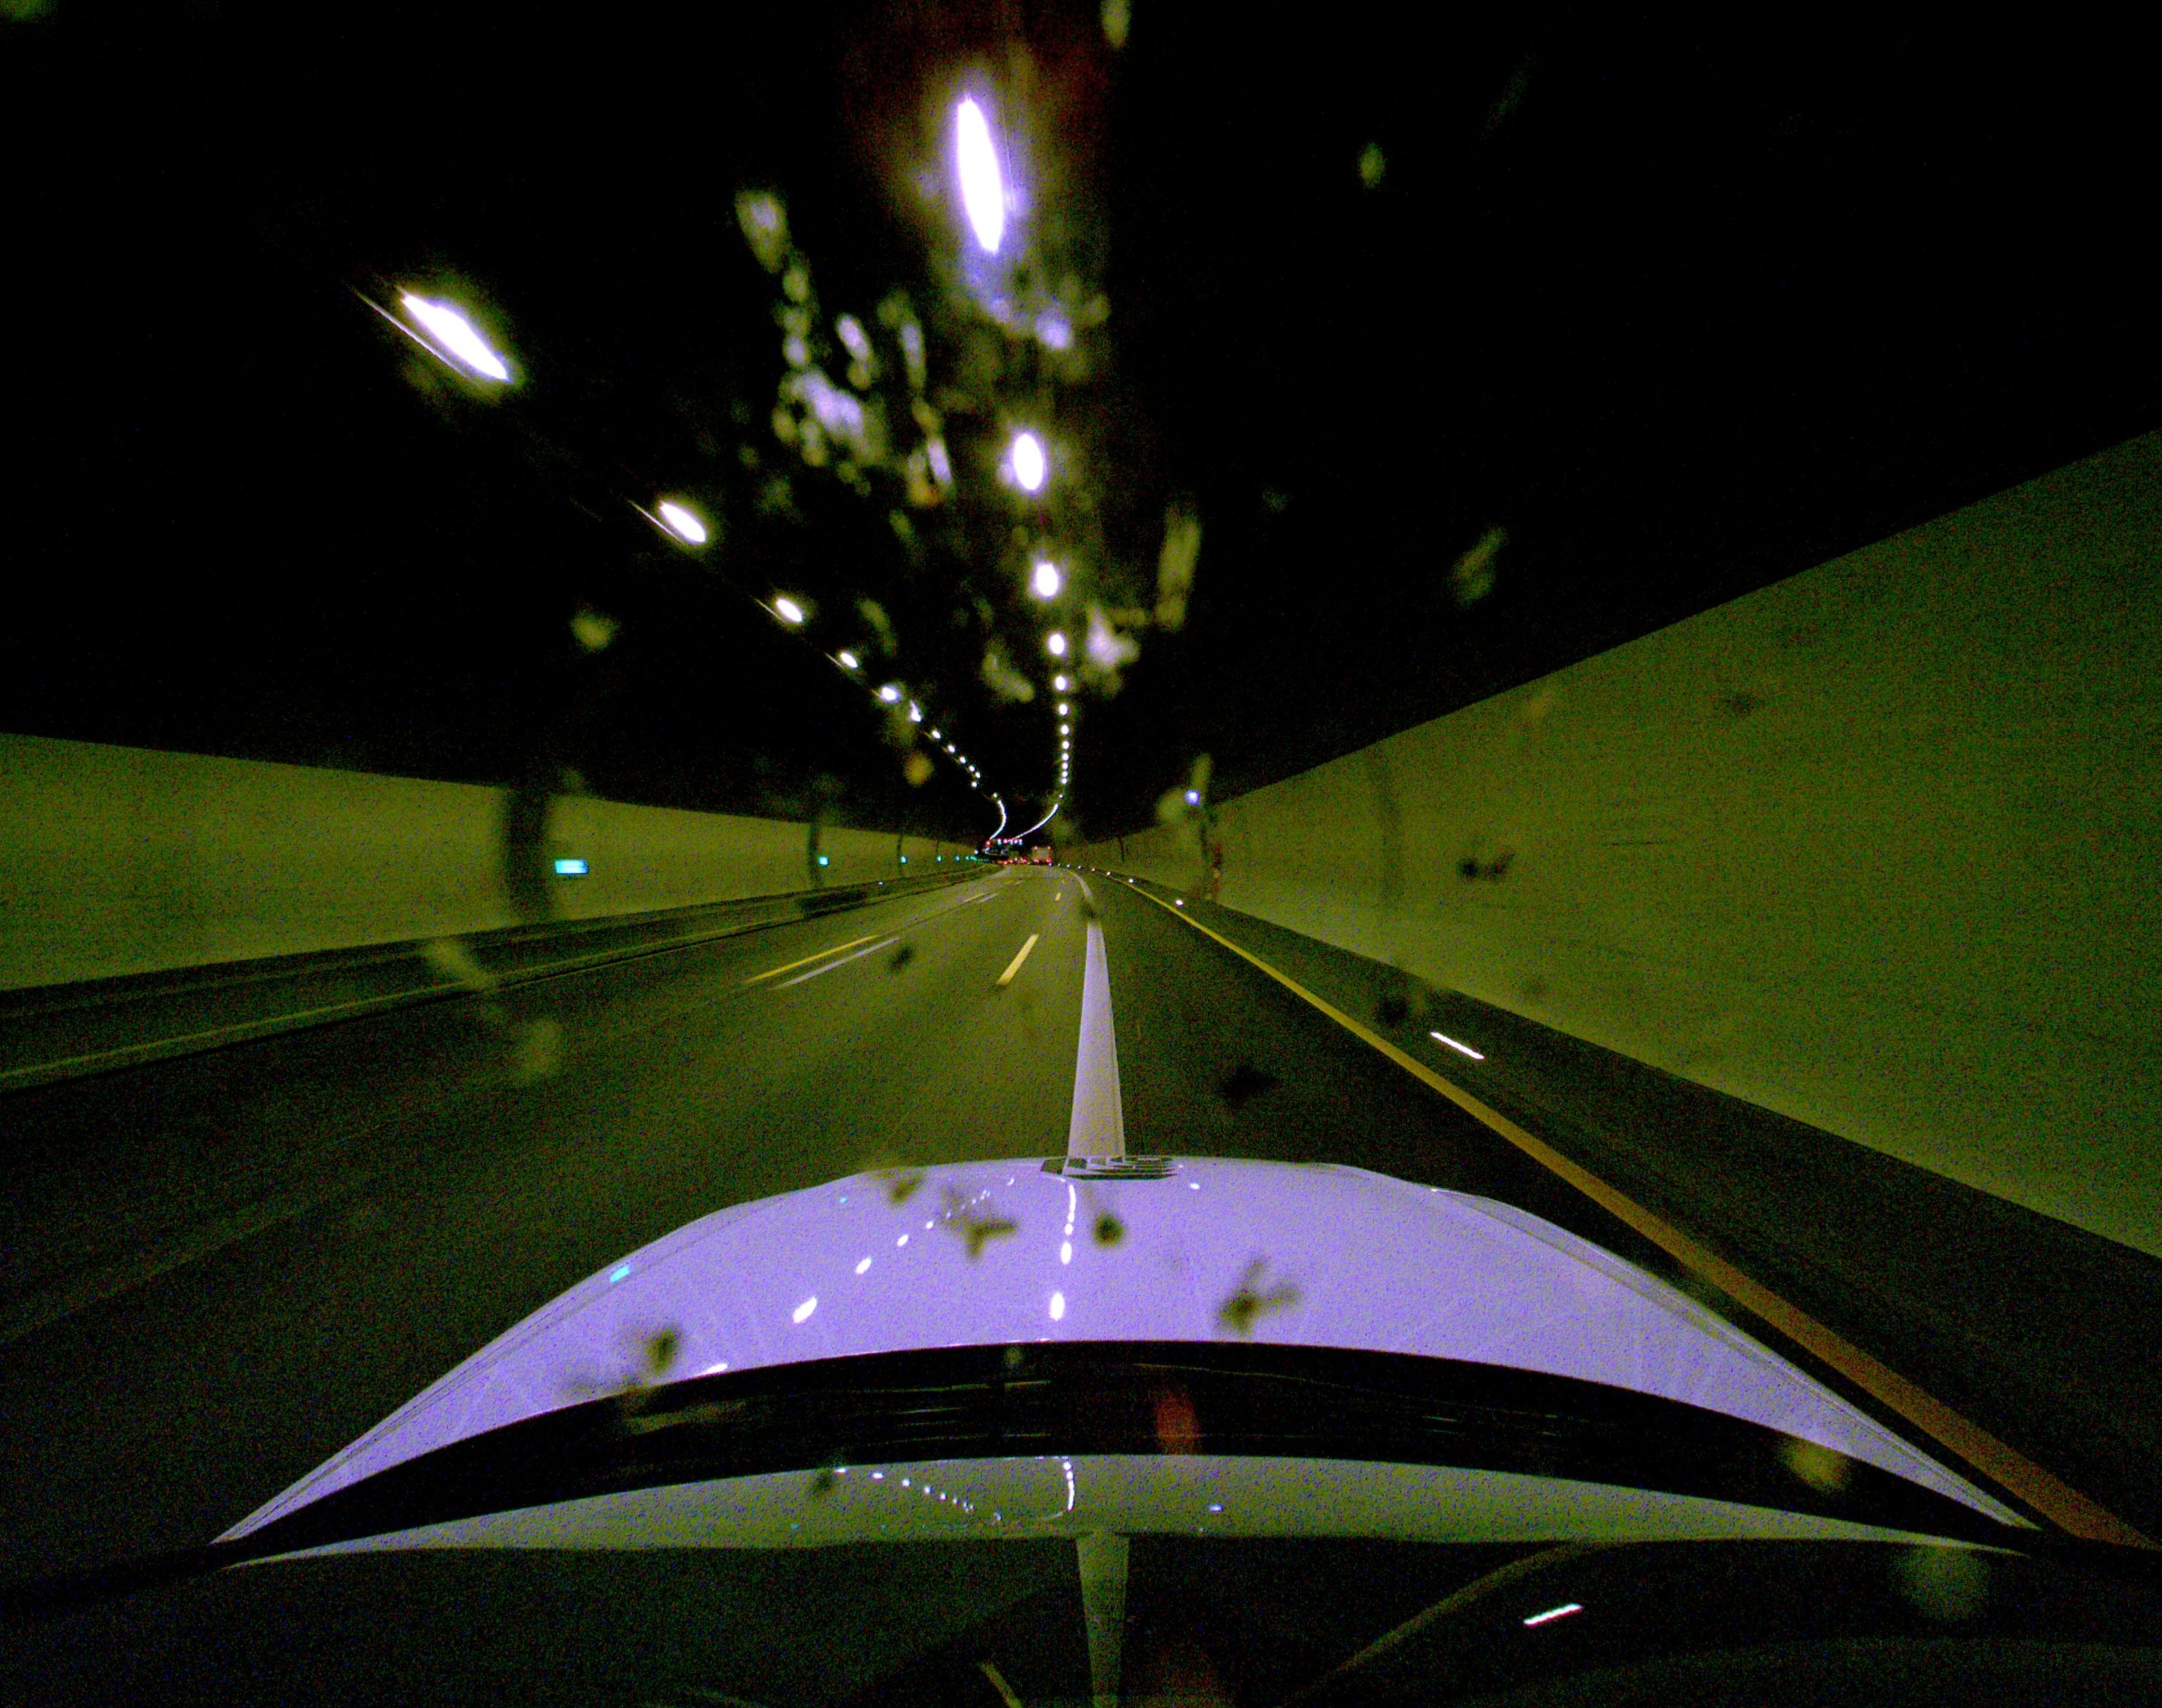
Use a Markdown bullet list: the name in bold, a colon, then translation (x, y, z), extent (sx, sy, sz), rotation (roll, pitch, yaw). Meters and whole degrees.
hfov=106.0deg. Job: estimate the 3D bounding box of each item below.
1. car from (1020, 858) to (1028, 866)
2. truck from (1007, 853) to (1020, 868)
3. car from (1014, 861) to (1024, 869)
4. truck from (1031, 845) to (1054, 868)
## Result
- **car**: translation (-15.261, 2.164, 216.940), extent (1.991, 2.014, 3.991), rotation (0, 0, -6)
- **truck**: translation (-21.305, 2.048, 256.171), extent (3.472, 4.316, 10.920), rotation (-1, 0, -8)
- **car**: translation (-13.461, 2.390, 176.464), extent (1.993, 1.582, 3.987), rotation (0, -1, -9)
- **truck**: translation (-7.505, 0.553, 158.554), extent (3.472, 4.316, 10.920), rotation (0, 0, -8)
